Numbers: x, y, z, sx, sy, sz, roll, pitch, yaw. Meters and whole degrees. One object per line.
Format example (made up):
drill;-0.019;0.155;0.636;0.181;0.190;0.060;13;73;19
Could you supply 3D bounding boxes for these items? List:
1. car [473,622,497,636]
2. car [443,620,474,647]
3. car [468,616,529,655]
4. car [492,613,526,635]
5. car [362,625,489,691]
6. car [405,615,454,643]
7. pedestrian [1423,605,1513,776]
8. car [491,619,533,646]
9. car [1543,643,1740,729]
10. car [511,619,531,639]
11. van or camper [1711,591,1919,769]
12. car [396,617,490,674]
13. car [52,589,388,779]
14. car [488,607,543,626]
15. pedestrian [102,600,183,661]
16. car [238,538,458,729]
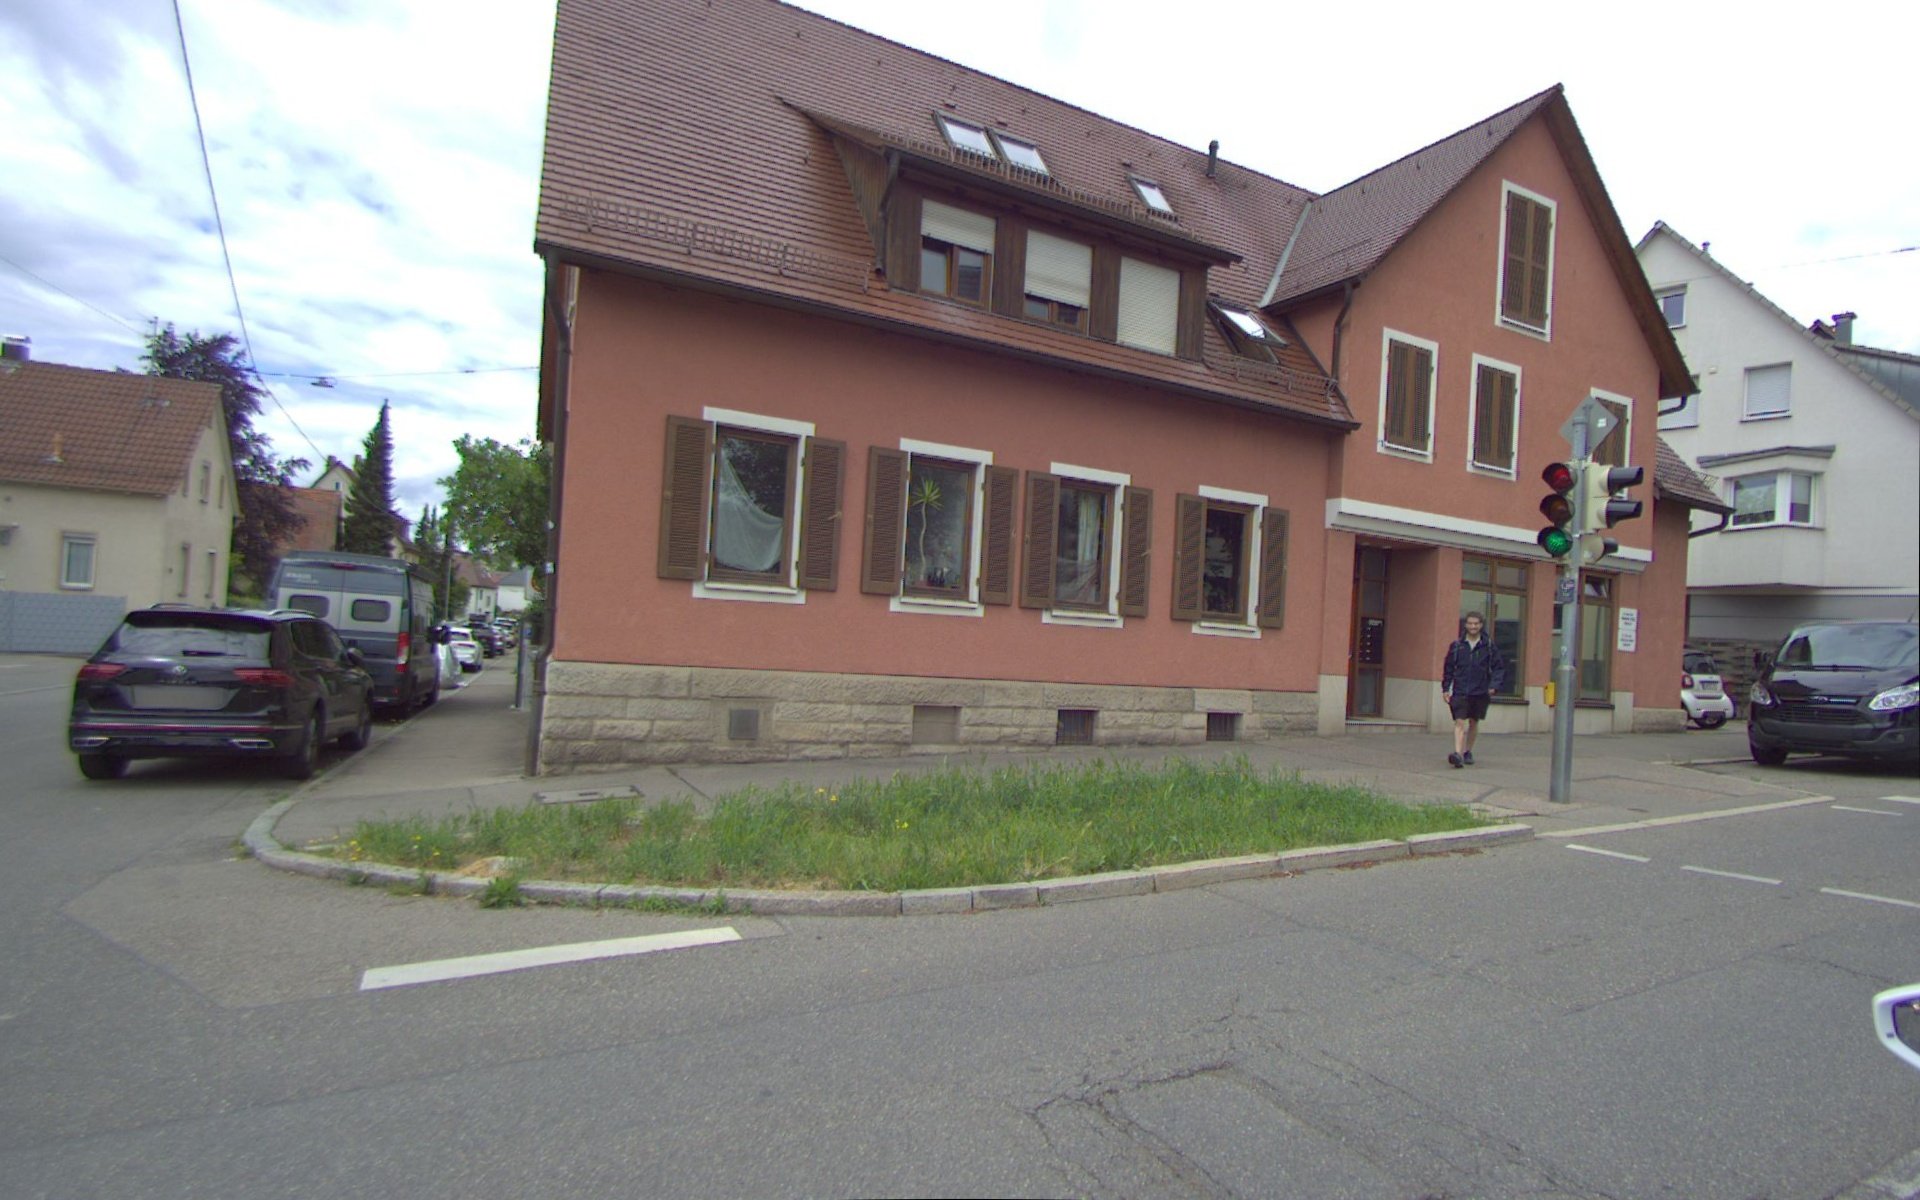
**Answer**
car;-61.668;3.741;130.435;2.237;1.528;4.811;3;1;-20
car;-43.004;2.843;86.227;1.971;2.040;3.978;3;1;-22
car;-22.335;1.684;48.803;2.237;1.528;4.811;3;1;-20
car;-38.341;1.991;85.479;2.237;1.528;4.811;3;1;-20
car;-13.885;1.459;26.420;2.237;1.528;4.812;3;-2;-20
car;-36.180;1.958;68.585;2.237;1.528;4.811;3;1;-20
pedestrian;5.734;0.980;11.315;0.789;1.808;0.891;2;0;31
car;-30.988;2.220;69.617;2.237;1.528;4.811;3;1;-20
car;13.729;1.711;20.366;1.720;1.494;2.820;4;-2;-26
car;-51.286;3.359;117.363;1.972;2.040;3.977;3;1;-23
van or camper;12.501;1.122;13.596;4.802;2.031;2.064;5;-4;-30
car;-17.623;1.504;34.481;2.237;1.528;4.811;3;1;-20
car;-7.513;0.856;10.715;1.777;1.610;4.040;3;-4;-21
car;-69.991;2.594;158.204;7.080;2.739;3.210;2;-1;5
pedestrian;-22.919;0.863;28.199;1.035;1.608;1.300;3;-3;5
car;-10.356;0.472;17.483;2.237;2.812;4.928;3;1;-20
